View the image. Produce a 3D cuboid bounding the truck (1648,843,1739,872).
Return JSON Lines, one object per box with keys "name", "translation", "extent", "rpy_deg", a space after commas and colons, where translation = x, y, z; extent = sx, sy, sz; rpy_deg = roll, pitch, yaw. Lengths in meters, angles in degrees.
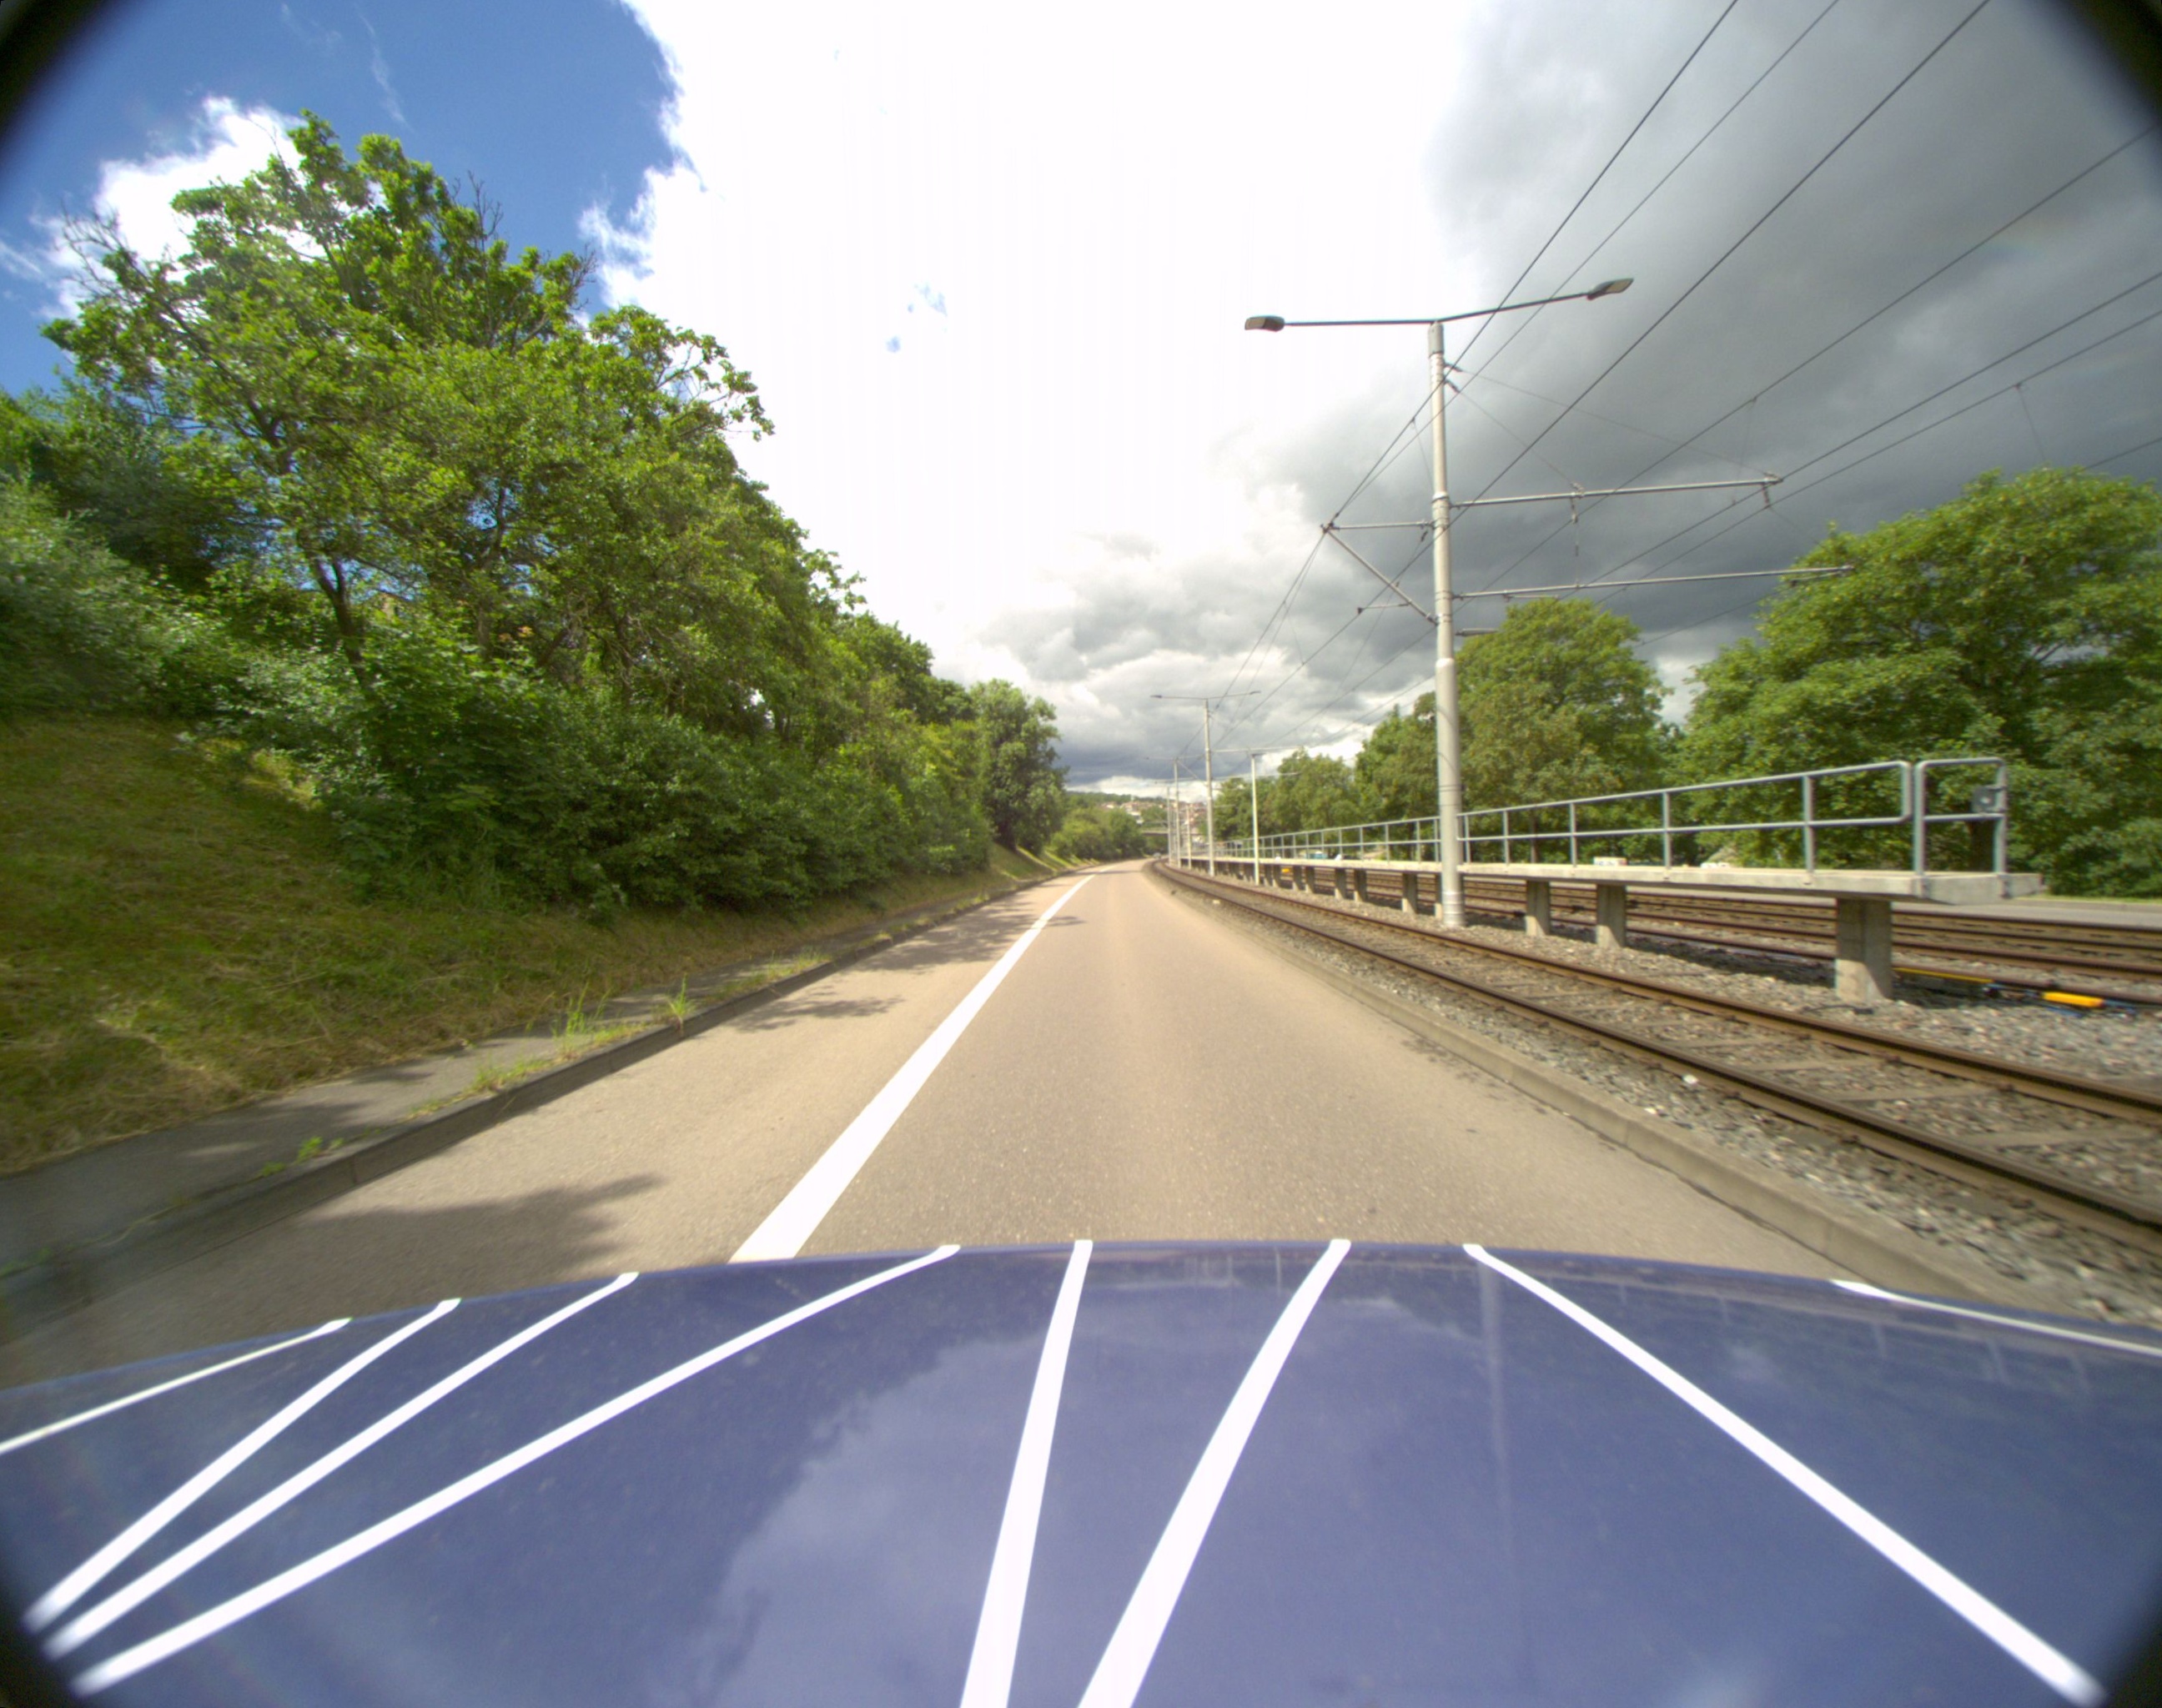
{"name": "truck", "translation": [60.932, 0.324, 75.723], "extent": [6.616, 2.839, 2.680], "rpy_deg": [0, 0, 6]}
